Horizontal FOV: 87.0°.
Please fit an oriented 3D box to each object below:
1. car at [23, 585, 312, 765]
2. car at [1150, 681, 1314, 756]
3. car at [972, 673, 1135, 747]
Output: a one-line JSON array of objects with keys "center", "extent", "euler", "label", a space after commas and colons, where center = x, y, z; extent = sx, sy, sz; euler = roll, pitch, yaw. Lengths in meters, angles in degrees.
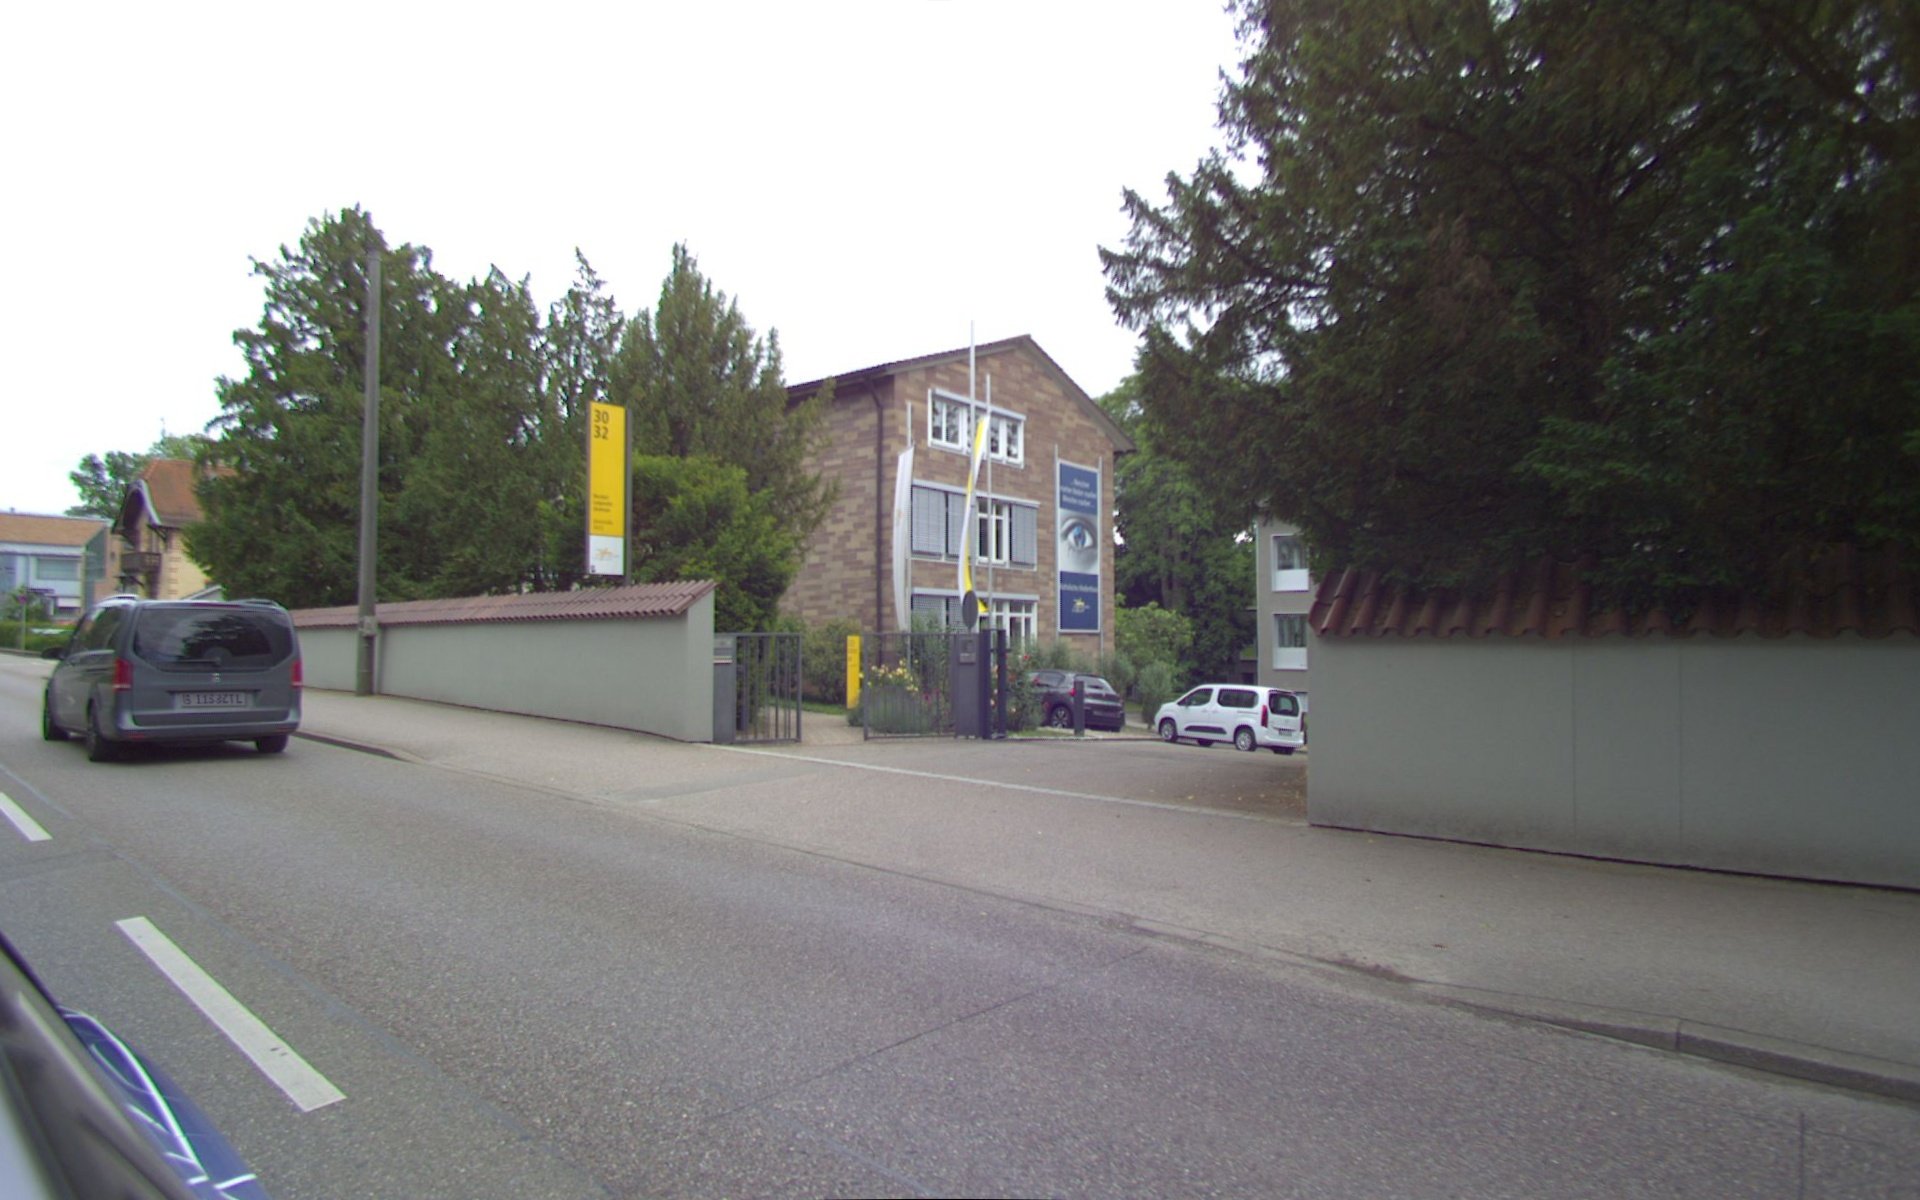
[{"center": [-10.260, 0.868, 12.941], "extent": [5.079, 1.870, 1.871], "euler": [-1, -3, 40], "label": "car"}, {"center": [7.475, 3.225, 28.158], "extent": [1.852, 1.819, 4.158], "euler": [4, -5, -36], "label": "car"}, {"center": [2.094, 2.518, 23.613], "extent": [1.623, 1.517, 3.866], "euler": [4, -5, -36], "label": "car"}]
